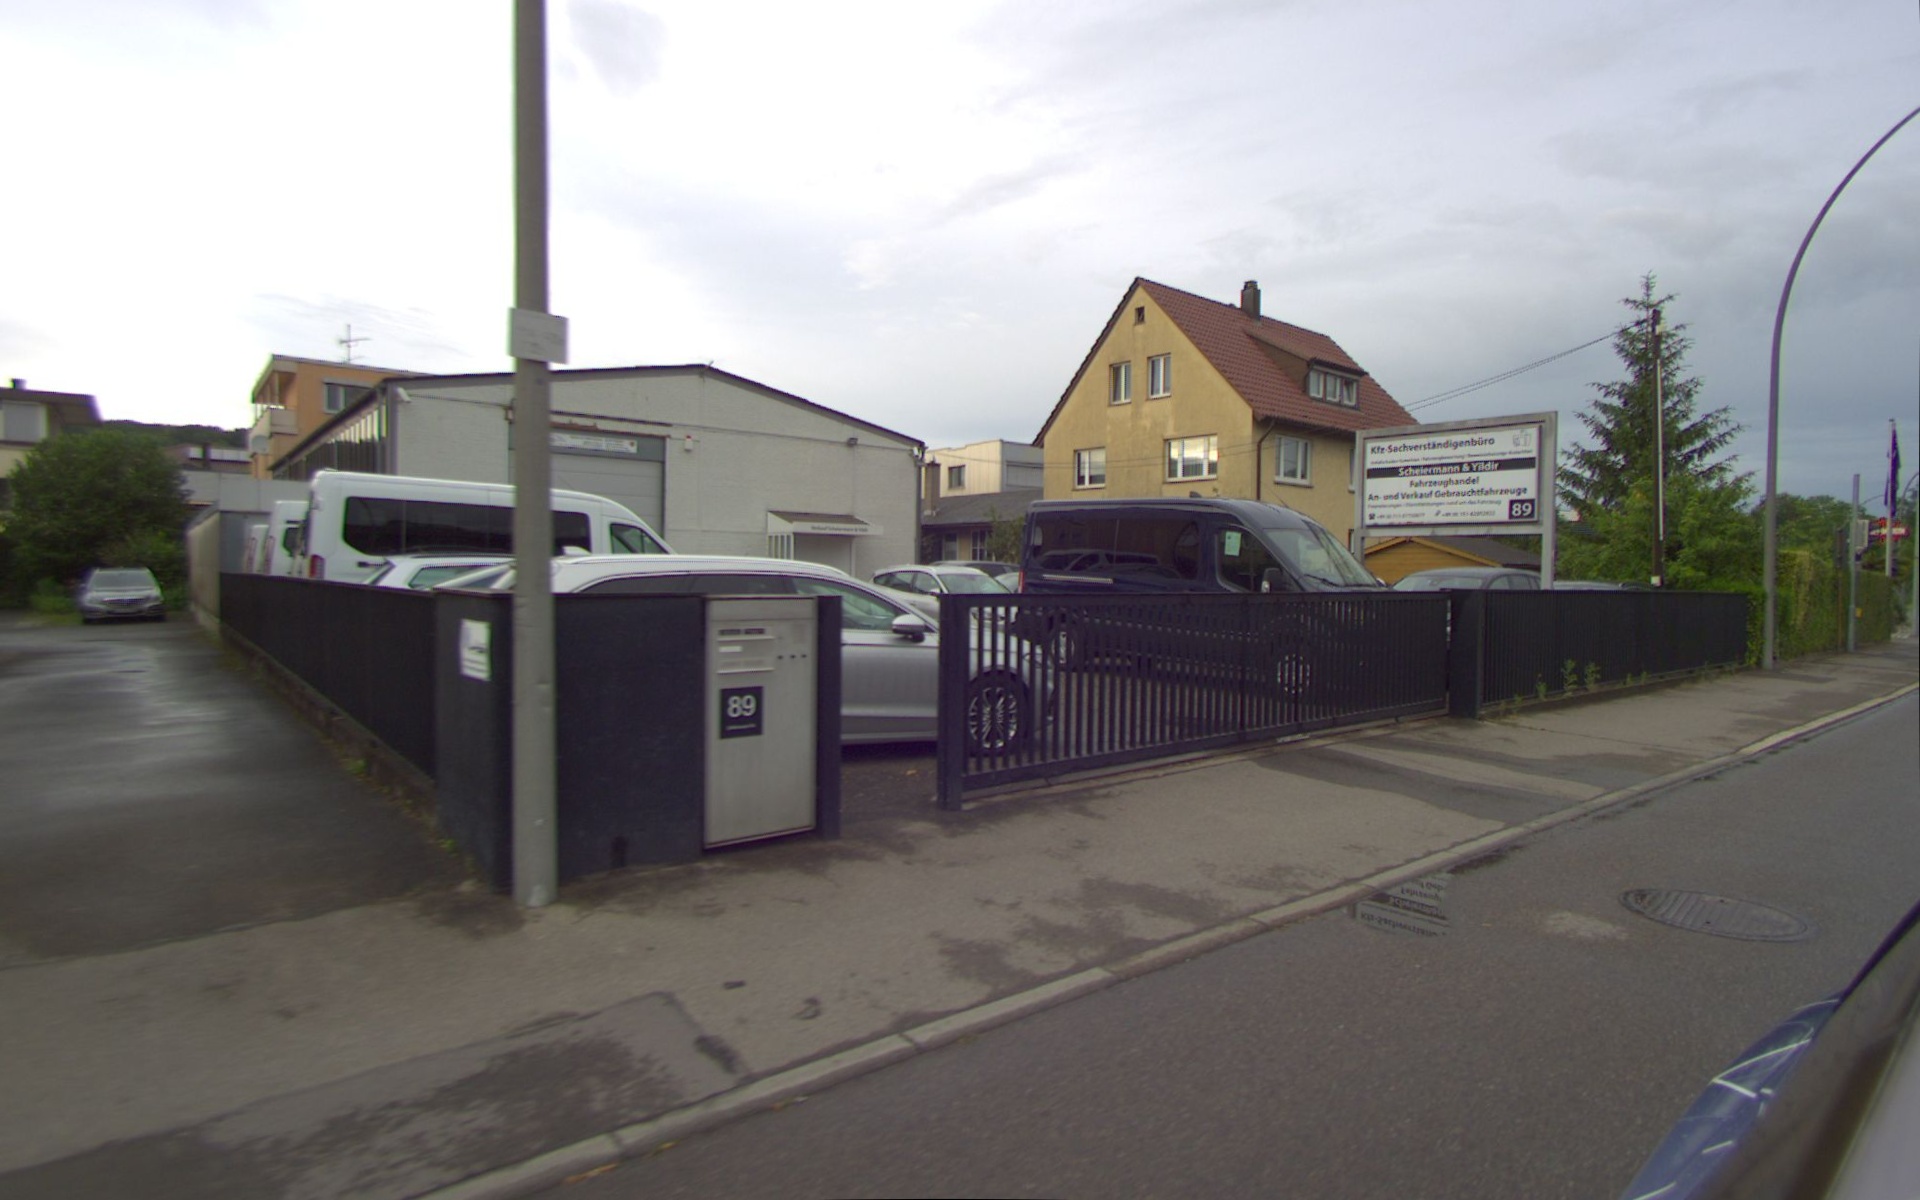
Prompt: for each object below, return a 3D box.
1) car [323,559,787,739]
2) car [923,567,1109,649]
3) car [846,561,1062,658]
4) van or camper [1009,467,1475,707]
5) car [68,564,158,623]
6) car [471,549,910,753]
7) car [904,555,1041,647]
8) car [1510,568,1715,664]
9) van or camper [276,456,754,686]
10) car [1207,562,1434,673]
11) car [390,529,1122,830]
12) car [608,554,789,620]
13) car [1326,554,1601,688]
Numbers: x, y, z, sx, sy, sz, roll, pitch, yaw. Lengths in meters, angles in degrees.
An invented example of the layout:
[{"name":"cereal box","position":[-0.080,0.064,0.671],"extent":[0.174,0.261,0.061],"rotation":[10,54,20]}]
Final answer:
[{"name":"car","position":[-4.699,0.451,12.098],"extent":[4.723,1.671,2.098],"rotation":[-3,1,-28]},{"name":"car","position":[1.295,0.132,22.533],"extent":[3.927,1.572,1.666],"rotation":[-3,1,-37]},{"name":"car","position":[-0.236,0.064,17.975],"extent":[1.677,1.501,4.339],"rotation":[-2,2,-35]},{"name":"van or camper","position":[3.411,-0.193,13.601],"extent":[2.094,2.516,5.918],"rotation":[-3,2,-38]},{"name":"car","position":[-24.306,-0.251,29.162],"extent":[1.774,1.490,3.999],"rotation":[-2,4,-38]},{"name":"car","position":[-2.766,0.393,10.472],"extent":[4.016,1.671,1.892],"rotation":[-3,1,-28]},{"name":"car","position":[0.336,-0.013,24.875],"extent":[3.085,2.076,1.577],"rotation":[-3,0,-43]},{"name":"car","position":[11.320,0.244,17.471],"extent":[4.166,1.475,1.665],"rotation":[0,-1,-38]},{"name":"van or camper","position":[-6.165,-0.487,14.485],"extent":[5.906,2.713,2.066],"rotation":[-3,2,-34]},{"name":"car","position":[6.115,0.227,17.007],"extent":[3.927,1.586,1.666],"rotation":[-3,1,-37]},{"name":"car","position":[-1.470,0.376,7.963],"extent":[5.131,1.671,2.130],"rotation":[-3,1,-28]},{"name":"car","position":[-6.560,-0.342,25.626],"extent":[3.934,1.498,1.995],"rotation":[-3,1,-43]},{"name":"car","position":[7.345,0.211,14.582],"extent":[4.483,1.586,1.666],"rotation":[-3,1,-37]}]
